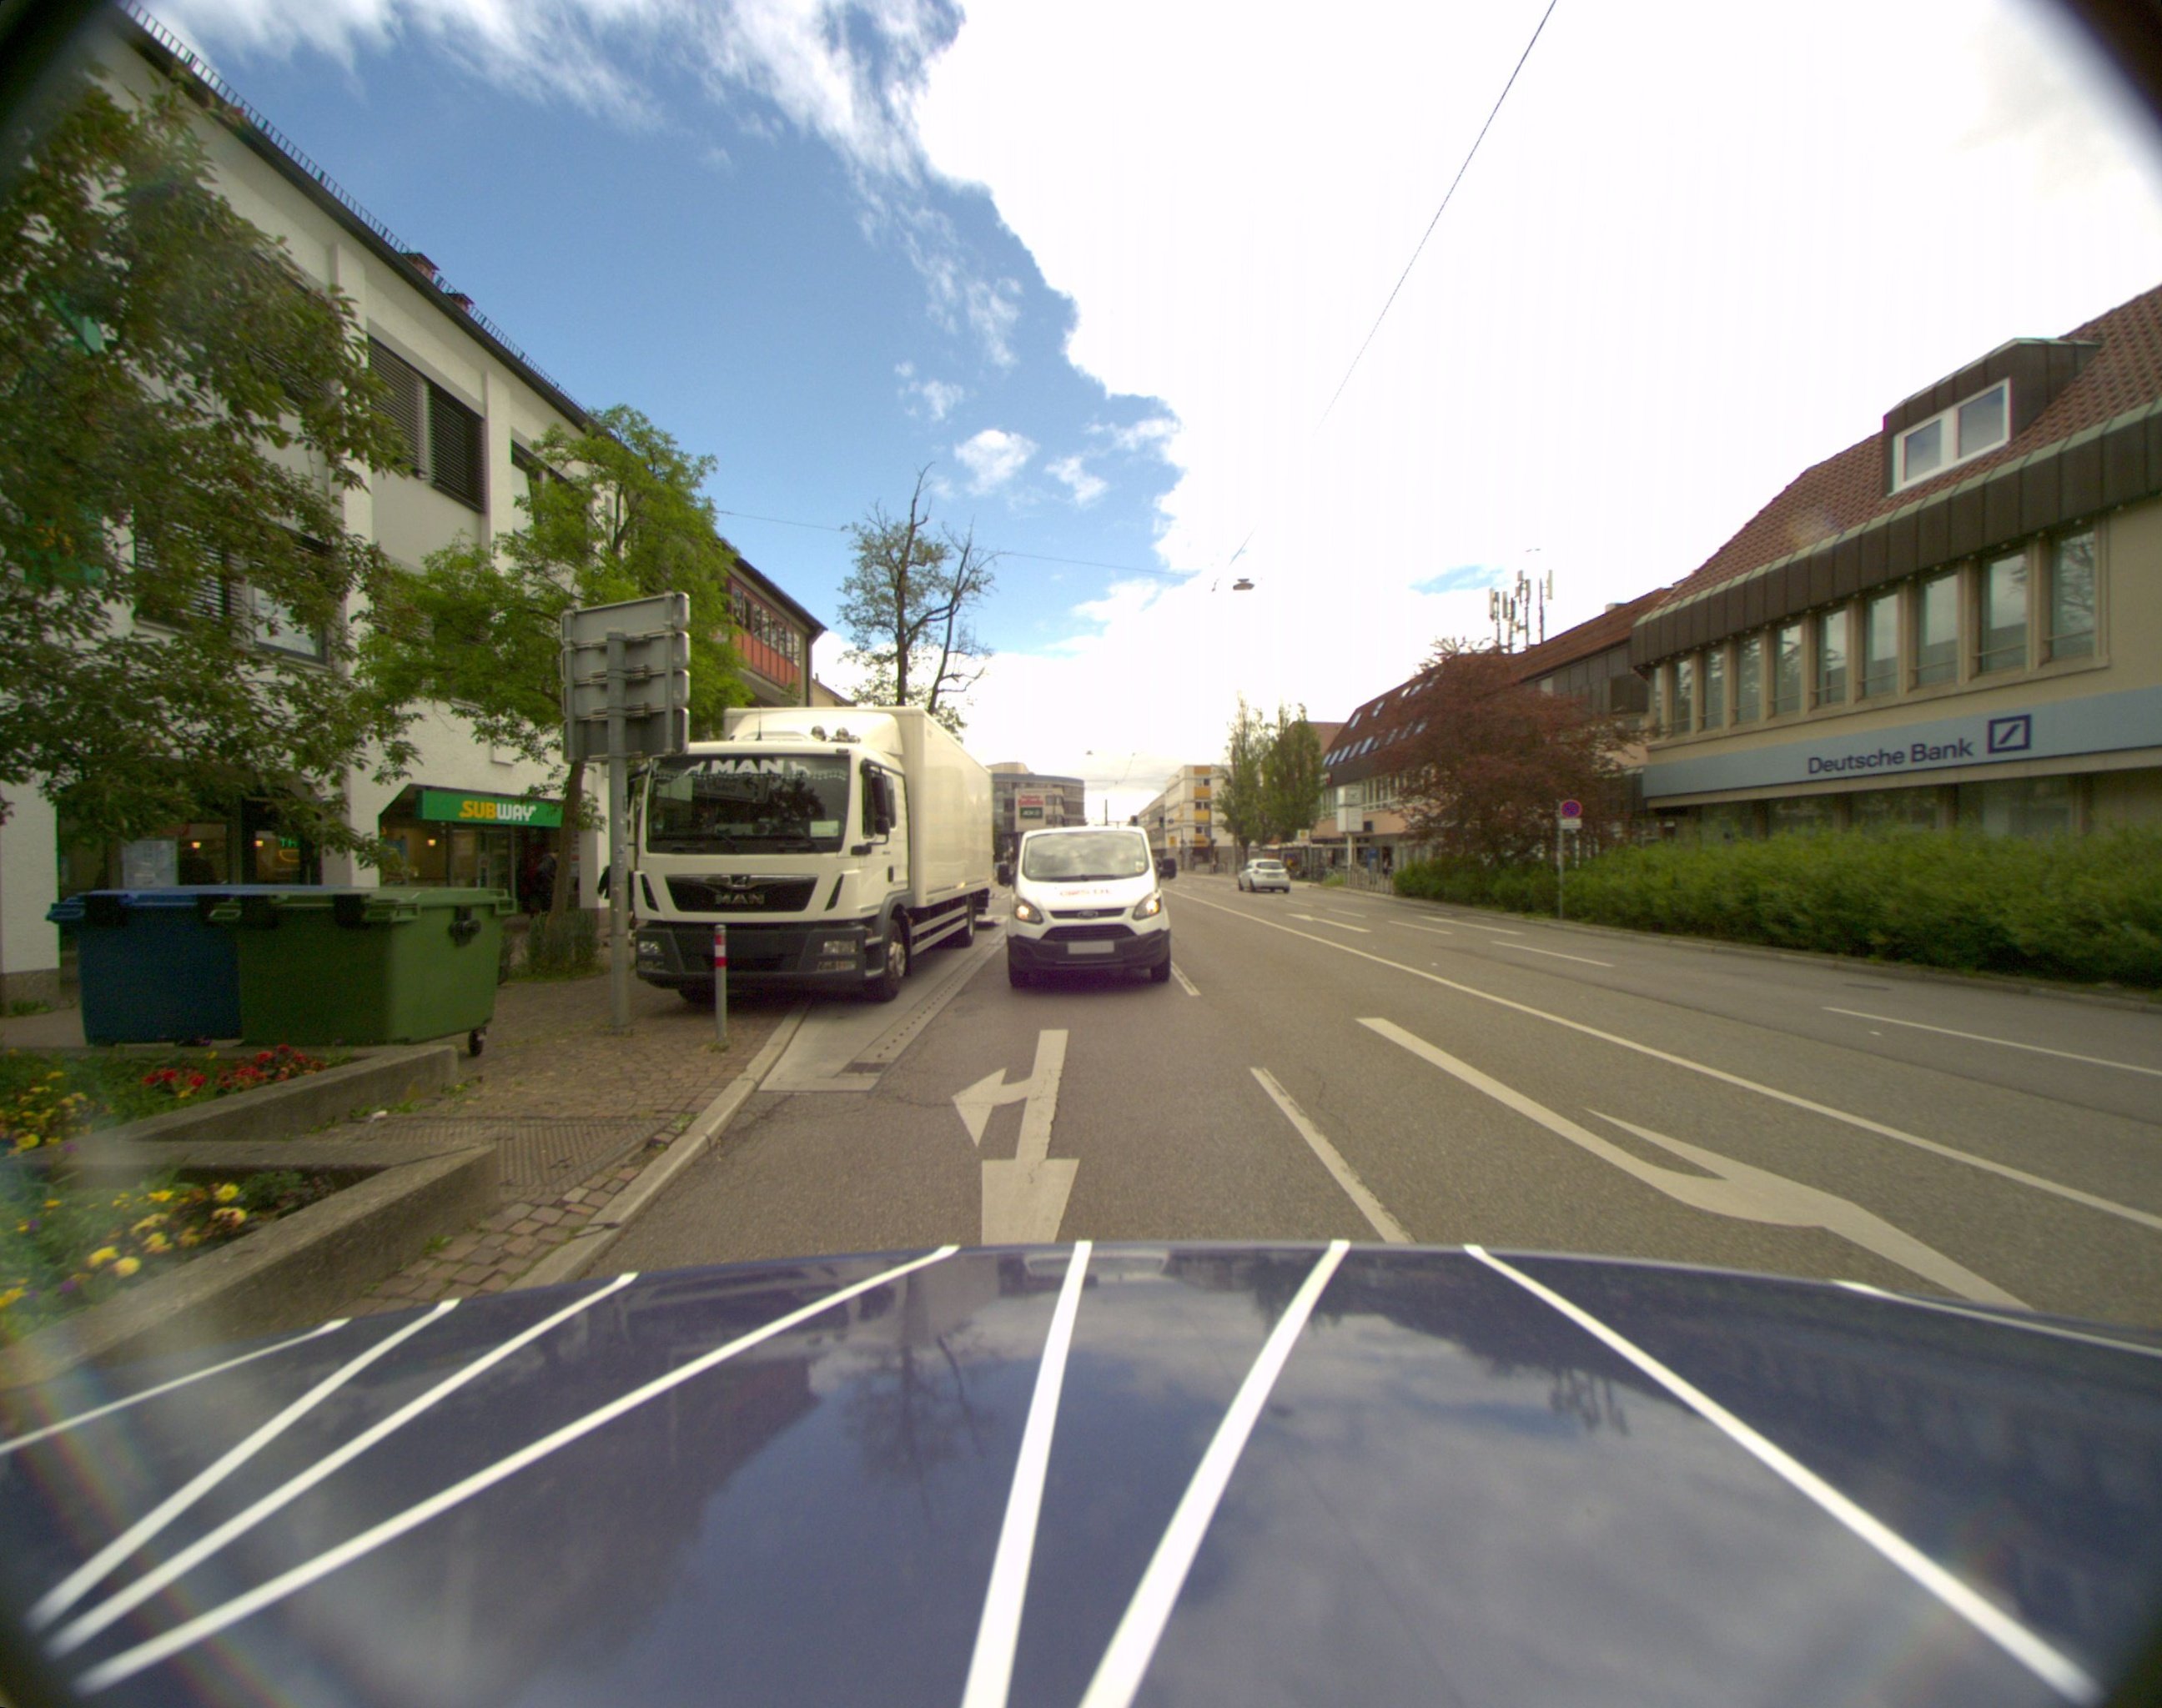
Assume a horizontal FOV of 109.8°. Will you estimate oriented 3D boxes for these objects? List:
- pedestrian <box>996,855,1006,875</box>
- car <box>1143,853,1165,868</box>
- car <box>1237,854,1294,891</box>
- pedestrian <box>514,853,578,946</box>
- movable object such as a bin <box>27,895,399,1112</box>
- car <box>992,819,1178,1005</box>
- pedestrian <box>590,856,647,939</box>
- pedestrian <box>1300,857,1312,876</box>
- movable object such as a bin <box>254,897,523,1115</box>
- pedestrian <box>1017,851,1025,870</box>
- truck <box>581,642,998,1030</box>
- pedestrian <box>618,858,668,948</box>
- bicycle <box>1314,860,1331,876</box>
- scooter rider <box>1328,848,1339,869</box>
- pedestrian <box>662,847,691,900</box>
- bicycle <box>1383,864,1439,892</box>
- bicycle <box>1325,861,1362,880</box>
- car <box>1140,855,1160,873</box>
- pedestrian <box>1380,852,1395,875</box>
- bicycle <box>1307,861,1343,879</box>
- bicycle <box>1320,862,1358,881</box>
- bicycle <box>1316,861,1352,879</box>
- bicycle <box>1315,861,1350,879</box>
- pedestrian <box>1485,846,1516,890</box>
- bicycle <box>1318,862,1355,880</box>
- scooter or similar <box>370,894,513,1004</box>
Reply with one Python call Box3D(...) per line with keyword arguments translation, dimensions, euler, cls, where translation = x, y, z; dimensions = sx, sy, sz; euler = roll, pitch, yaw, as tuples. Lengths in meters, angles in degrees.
Box3D(translation=(-6.597, 0.878, 62.569), dimensions=(0.720, 1.625, 0.615), euler=(0, 1, -3), cls="pedestrian")
Box3D(translation=(8.432, 0.748, 87.998), dimensions=(2.074, 1.728, 4.693), euler=(1, 0, 1), cls="car")
Box3D(translation=(8.533, 0.813, 35.445), dimensions=(1.644, 1.559, 3.926), euler=(2, 0, 0), cls="car")
Box3D(translation=(-9.427, 0.788, 13.413), dimensions=(0.574, 1.593, 0.746), euler=(-1, 0, 1), cls="pedestrian")
Box3D(translation=(-6.248, 1.004, 5.612), dimensions=(1.146, 1.331, 1.376), euler=(0, 0, 2), cls="movable object such as a bin")
Box3D(translation=(0.182, 0.651, 10.801), dimensions=(1.998, 2.002, 5.000), euler=(-1, 0, 3), cls="car")
Box3D(translation=(-9.071, 0.841, 14.922), dimensions=(0.745, 1.593, 0.574), euler=(-1, 0, -3), cls="pedestrian")
Box3D(translation=(16.174, 0.927, 54.661), dimensions=(0.713, 1.356, 0.588), euler=(-1, 0, 2), cls="pedestrian")
Box3D(translation=(-4.824, 1.004, 5.396), dimensions=(0.883, 1.331, 1.085), euler=(0, 0, 2), cls="movable object such as a bin")
Box3D(translation=(-5.305, 0.604, 66.901), dimensions=(0.613, 1.668, 0.615), euler=(0, 0, 2), cls="pedestrian")
Box3D(translation=(-3.211, -0.150, 11.871), dimensions=(2.695, 3.540, 9.766), euler=(-1, 0, 0), cls="truck")
Box3D(translation=(-8.022, 0.872, 13.940), dimensions=(0.747, 1.593, 0.573), euler=(-1, 0, -28), cls="pedestrian")
Box3D(translation=(16.998, 0.968, 53.490), dimensions=(0.535, 1.084, 1.930), euler=(-1, 0, -2), cls="bicycle")
Box3D(translation=(21.601, 0.398, 64.900), dimensions=(0.614, 1.702, 0.588), euler=(-4, 0, -3), cls="scooter rider")
Box3D(translation=(-12.487, 0.594, 23.462), dimensions=(0.747, 1.593, 0.573), euler=(-1, 0, -28), cls="pedestrian")
Box3D(translation=(13.108, 0.951, 30.217), dimensions=(2.024, 1.084, 0.648), euler=(-1, 0, -9), cls="bicycle")
Box3D(translation=(15.391, 0.976, 44.567), dimensions=(2.024, 1.084, 0.648), euler=(-1, 0, -9), cls="bicycle")
Box3D(translation=(6.142, 0.875, 67.709), dimensions=(1.573, 1.531, 2.963), euler=(1, 0, 9), cls="car")
Box3D(translation=(20.687, 0.656, 51.310), dimensions=(0.713, 1.538, 0.588), euler=(-1, 0, -1), cls="pedestrian")
Box3D(translation=(15.245, 1.020, 47.524), dimensions=(2.024, 1.084, 0.649), euler=(-1, 0, -5), cls="bicycle")
Box3D(translation=(14.828, 1.000, 43.678), dimensions=(2.024, 1.084, 0.648), euler=(-1, 0, -9), cls="bicycle")
Box3D(translation=(15.485, 0.981, 46.469), dimensions=(2.024, 1.084, 0.648), euler=(-1, 0, -9), cls="bicycle")
Box3D(translation=(16.045, 0.995, 48.451), dimensions=(2.025, 1.084, 0.648), euler=(-1, 0, -14), cls="bicycle")
Box3D(translation=(17.330, 0.560, 31.393), dimensions=(0.727, 1.753, 0.755), euler=(-5, 0, 4), cls="pedestrian")
Box3D(translation=(15.211, 1.010, 45.262), dimensions=(2.024, 1.084, 0.648), euler=(-1, 0, -9), cls="bicycle")
Box3D(translation=(-7.379, 1.076, 8.802), dimensions=(1.179, 1.189, 0.460), euler=(0, 0, -9), cls="scooter or similar")
